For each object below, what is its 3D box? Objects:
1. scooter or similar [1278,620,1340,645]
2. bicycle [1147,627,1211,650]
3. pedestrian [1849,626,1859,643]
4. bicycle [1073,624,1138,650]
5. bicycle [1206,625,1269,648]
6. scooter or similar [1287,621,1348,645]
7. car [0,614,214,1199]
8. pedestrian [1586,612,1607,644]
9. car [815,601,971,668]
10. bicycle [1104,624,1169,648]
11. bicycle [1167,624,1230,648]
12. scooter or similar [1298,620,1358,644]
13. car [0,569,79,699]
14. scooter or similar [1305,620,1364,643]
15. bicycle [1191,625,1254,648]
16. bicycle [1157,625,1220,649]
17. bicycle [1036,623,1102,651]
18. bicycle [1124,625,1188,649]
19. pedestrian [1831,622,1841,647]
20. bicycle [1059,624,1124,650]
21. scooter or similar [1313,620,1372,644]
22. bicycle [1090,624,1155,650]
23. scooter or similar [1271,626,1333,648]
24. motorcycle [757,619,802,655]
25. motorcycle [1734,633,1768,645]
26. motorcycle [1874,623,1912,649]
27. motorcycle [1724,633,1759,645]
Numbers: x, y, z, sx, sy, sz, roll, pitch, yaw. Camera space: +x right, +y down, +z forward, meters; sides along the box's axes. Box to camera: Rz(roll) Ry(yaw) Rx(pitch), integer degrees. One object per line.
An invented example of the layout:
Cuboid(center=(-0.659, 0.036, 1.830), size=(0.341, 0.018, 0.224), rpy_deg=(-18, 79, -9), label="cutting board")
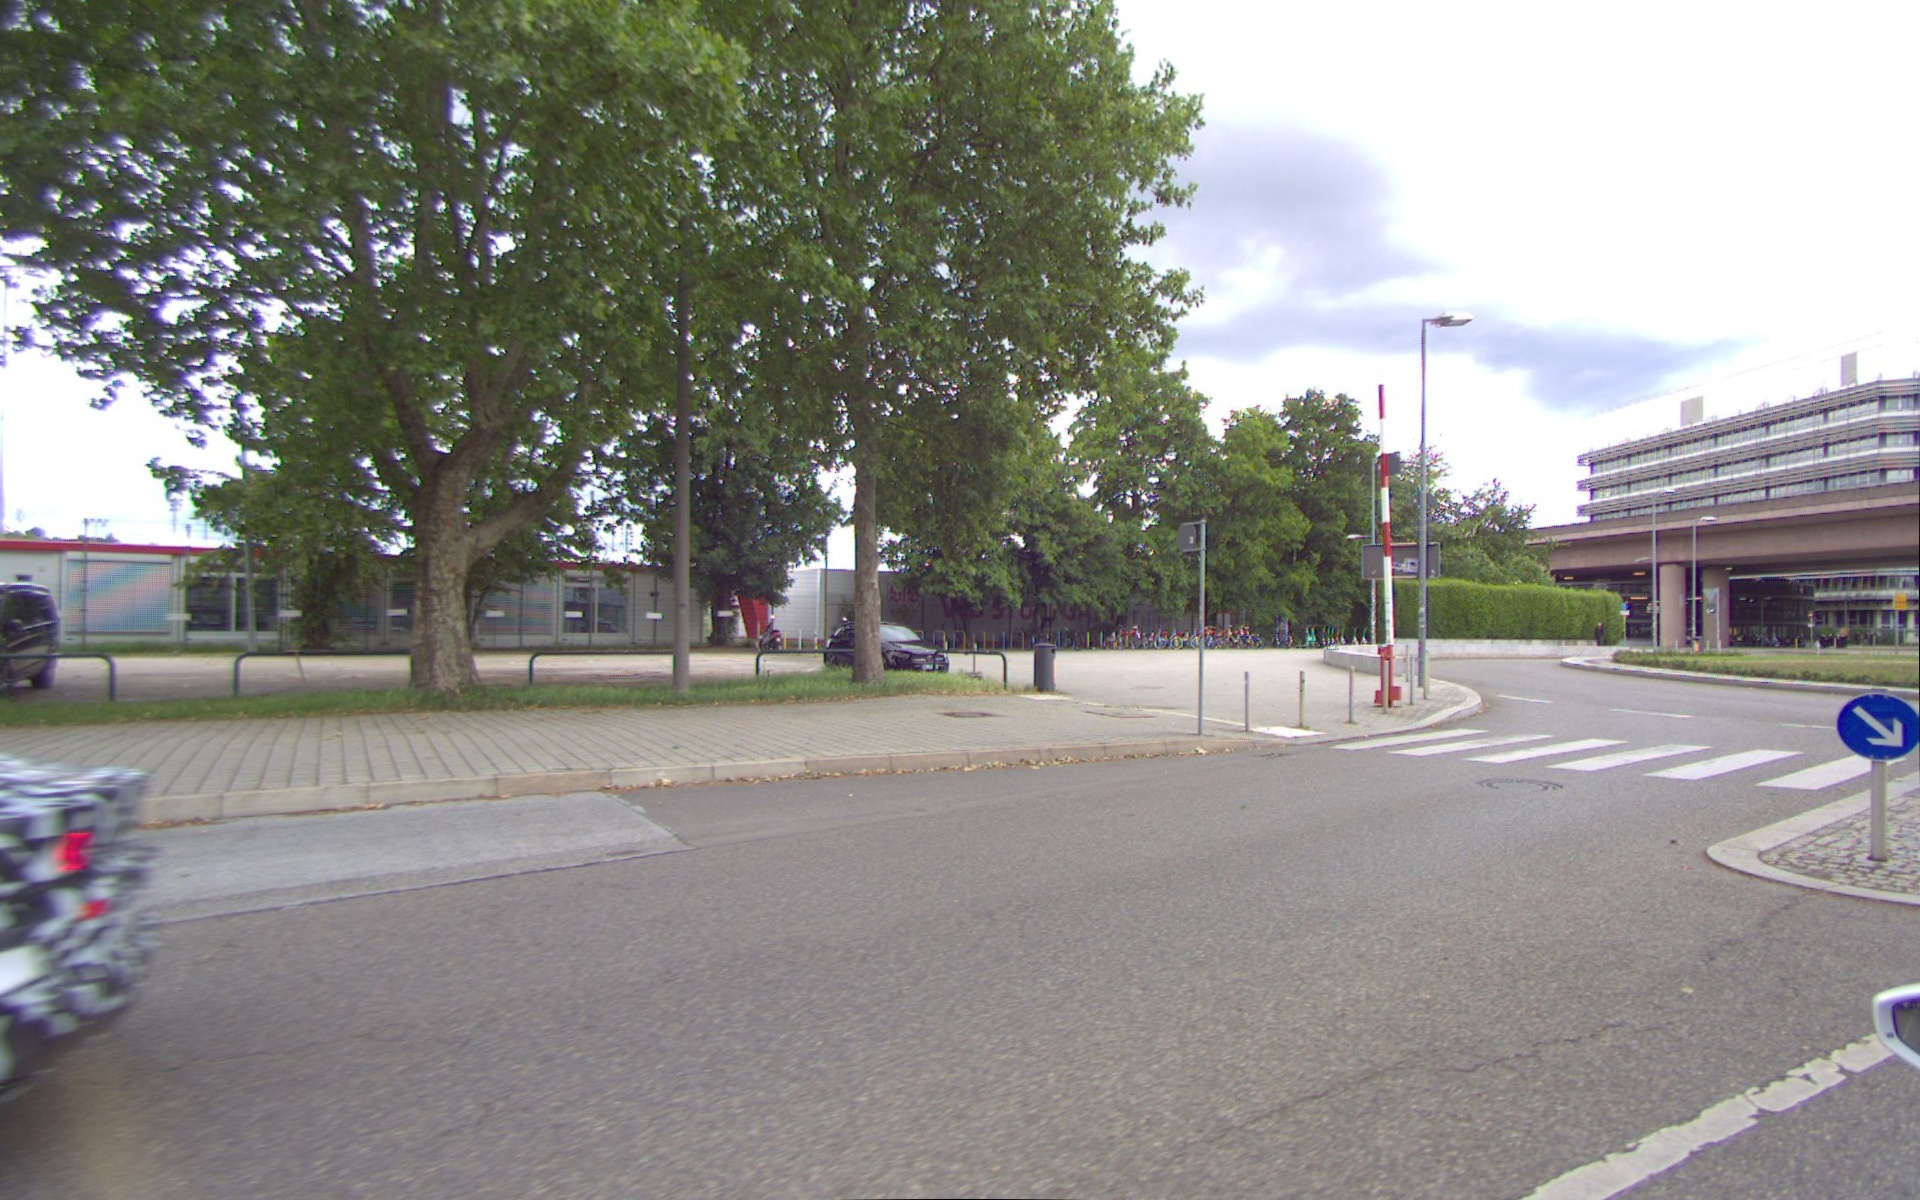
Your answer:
Cuboid(center=(19.078, 1.779, 55.014), size=(3.147, 1.266, 0.769), rpy_deg=(0, -1, 43), label="scooter or similar")
Cuboid(center=(10.702, 1.880, 49.264), size=(3.147, 1.111, 0.769), rpy_deg=(-2, -3, 43), label="bicycle")
Cuboid(center=(108.297, 4.164, 121.655), size=(0.766, 2.040, 0.669), rpy_deg=(1, -1, 35), label="pedestrian")
Cuboid(center=(6.766, 1.721, 47.023), size=(3.148, 1.112, 0.768), rpy_deg=(1, -1, 44), label="bicycle")
Cuboid(center=(14.443, 1.898, 52.358), size=(3.147, 1.112, 0.769), rpy_deg=(0, -1, 43), label="bicycle")
Cuboid(center=(19.862, 1.803, 55.811), size=(3.147, 1.266, 0.769), rpy_deg=(0, -1, 43), label="scooter or similar")
Cuboid(center=(-4.553, 0.797, 2.069), size=(4.768, 1.472, 1.889), rpy_deg=(1, -4, -36), label="car")
Cuboid(center=(41.314, 1.836, 65.208), size=(0.595, 2.040, 1.033), rpy_deg=(2, -1, -43), label="pedestrian")
Cuboid(center=(-1.832, 0.892, 26.528), size=(2.214, 1.626, 3.954), rpy_deg=(2, -2, -40), label="car")
Cuboid(center=(8.509, 1.726, 48.571), size=(3.147, 1.112, 0.769), rpy_deg=(0, -1, 43), label="bicycle")
Cuboid(center=(12.102, 1.803, 51.035), size=(3.147, 1.112, 0.769), rpy_deg=(0, -1, 43), label="bicycle")
Cuboid(center=(20.821, 1.819, 56.907), size=(3.147, 1.266, 0.769), rpy_deg=(0, -1, 43), label="scooter or similar")
Cuboid(center=(-17.059, 0.516, 17.007), size=(2.235, 2.052, 4.596), rpy_deg=(2, -1, -29), label="car")
Cuboid(center=(21.517, 1.798, 57.779), size=(3.147, 1.266, 0.769), rpy_deg=(0, -1, 43), label="scooter or similar")
Cuboid(center=(13.470, 1.870, 51.652), size=(3.147, 1.112, 0.769), rpy_deg=(0, -1, 43), label="bicycle")
Cuboid(center=(11.401, 1.827, 50.208), size=(3.147, 1.112, 0.769), rpy_deg=(0, -1, 43), label="bicycle")
Cuboid(center=(4.856, 1.644, 44.970), size=(3.148, 1.112, 0.768), rpy_deg=(1, -1, 44), label="bicycle")
Cuboid(center=(9.544, 1.791, 49.060), size=(3.147, 1.112, 0.769), rpy_deg=(0, -2, 43), label="bicycle")
Cuboid(center=(71.448, 2.787, 81.916), size=(0.595, 2.040, 0.582), rpy_deg=(2, -1, -43), label="pedestrian")
Cuboid(center=(6.040, 1.693, 46.377), size=(3.148, 1.112, 0.768), rpy_deg=(1, -1, 44), label="bicycle")
Cuboid(center=(22.220, 1.853, 58.400), size=(3.147, 1.266, 0.769), rpy_deg=(0, -1, 43), label="scooter or similar")
Cuboid(center=(7.738, 1.758, 47.979), size=(3.148, 1.112, 0.768), rpy_deg=(1, -1, 44), label="bicycle")
Cuboid(center=(18.452, 1.997, 54.304), size=(3.147, 1.112, 0.769), rpy_deg=(0, -1, 43), label="scooter or similar")
Cuboid(center=(-6.864, 1.381, 38.058), size=(0.763, 1.238, 3.650), rpy_deg=(1, -1, -25), label="motorcycle")
Cuboid(center=(77.629, 3.846, 98.617), size=(1.021, 1.127, 2.657), rpy_deg=(1, -1, -10), label="motorcycle")
Cuboid(center=(47.380, 1.810, 50.998), size=(1.857, 1.268, 0.667), rpy_deg=(1, -1, -22), label="motorcycle")
Cuboid(center=(76.408, 3.814, 98.245), size=(1.021, 1.127, 2.657), rpy_deg=(1, -1, -10), label="motorcycle")
